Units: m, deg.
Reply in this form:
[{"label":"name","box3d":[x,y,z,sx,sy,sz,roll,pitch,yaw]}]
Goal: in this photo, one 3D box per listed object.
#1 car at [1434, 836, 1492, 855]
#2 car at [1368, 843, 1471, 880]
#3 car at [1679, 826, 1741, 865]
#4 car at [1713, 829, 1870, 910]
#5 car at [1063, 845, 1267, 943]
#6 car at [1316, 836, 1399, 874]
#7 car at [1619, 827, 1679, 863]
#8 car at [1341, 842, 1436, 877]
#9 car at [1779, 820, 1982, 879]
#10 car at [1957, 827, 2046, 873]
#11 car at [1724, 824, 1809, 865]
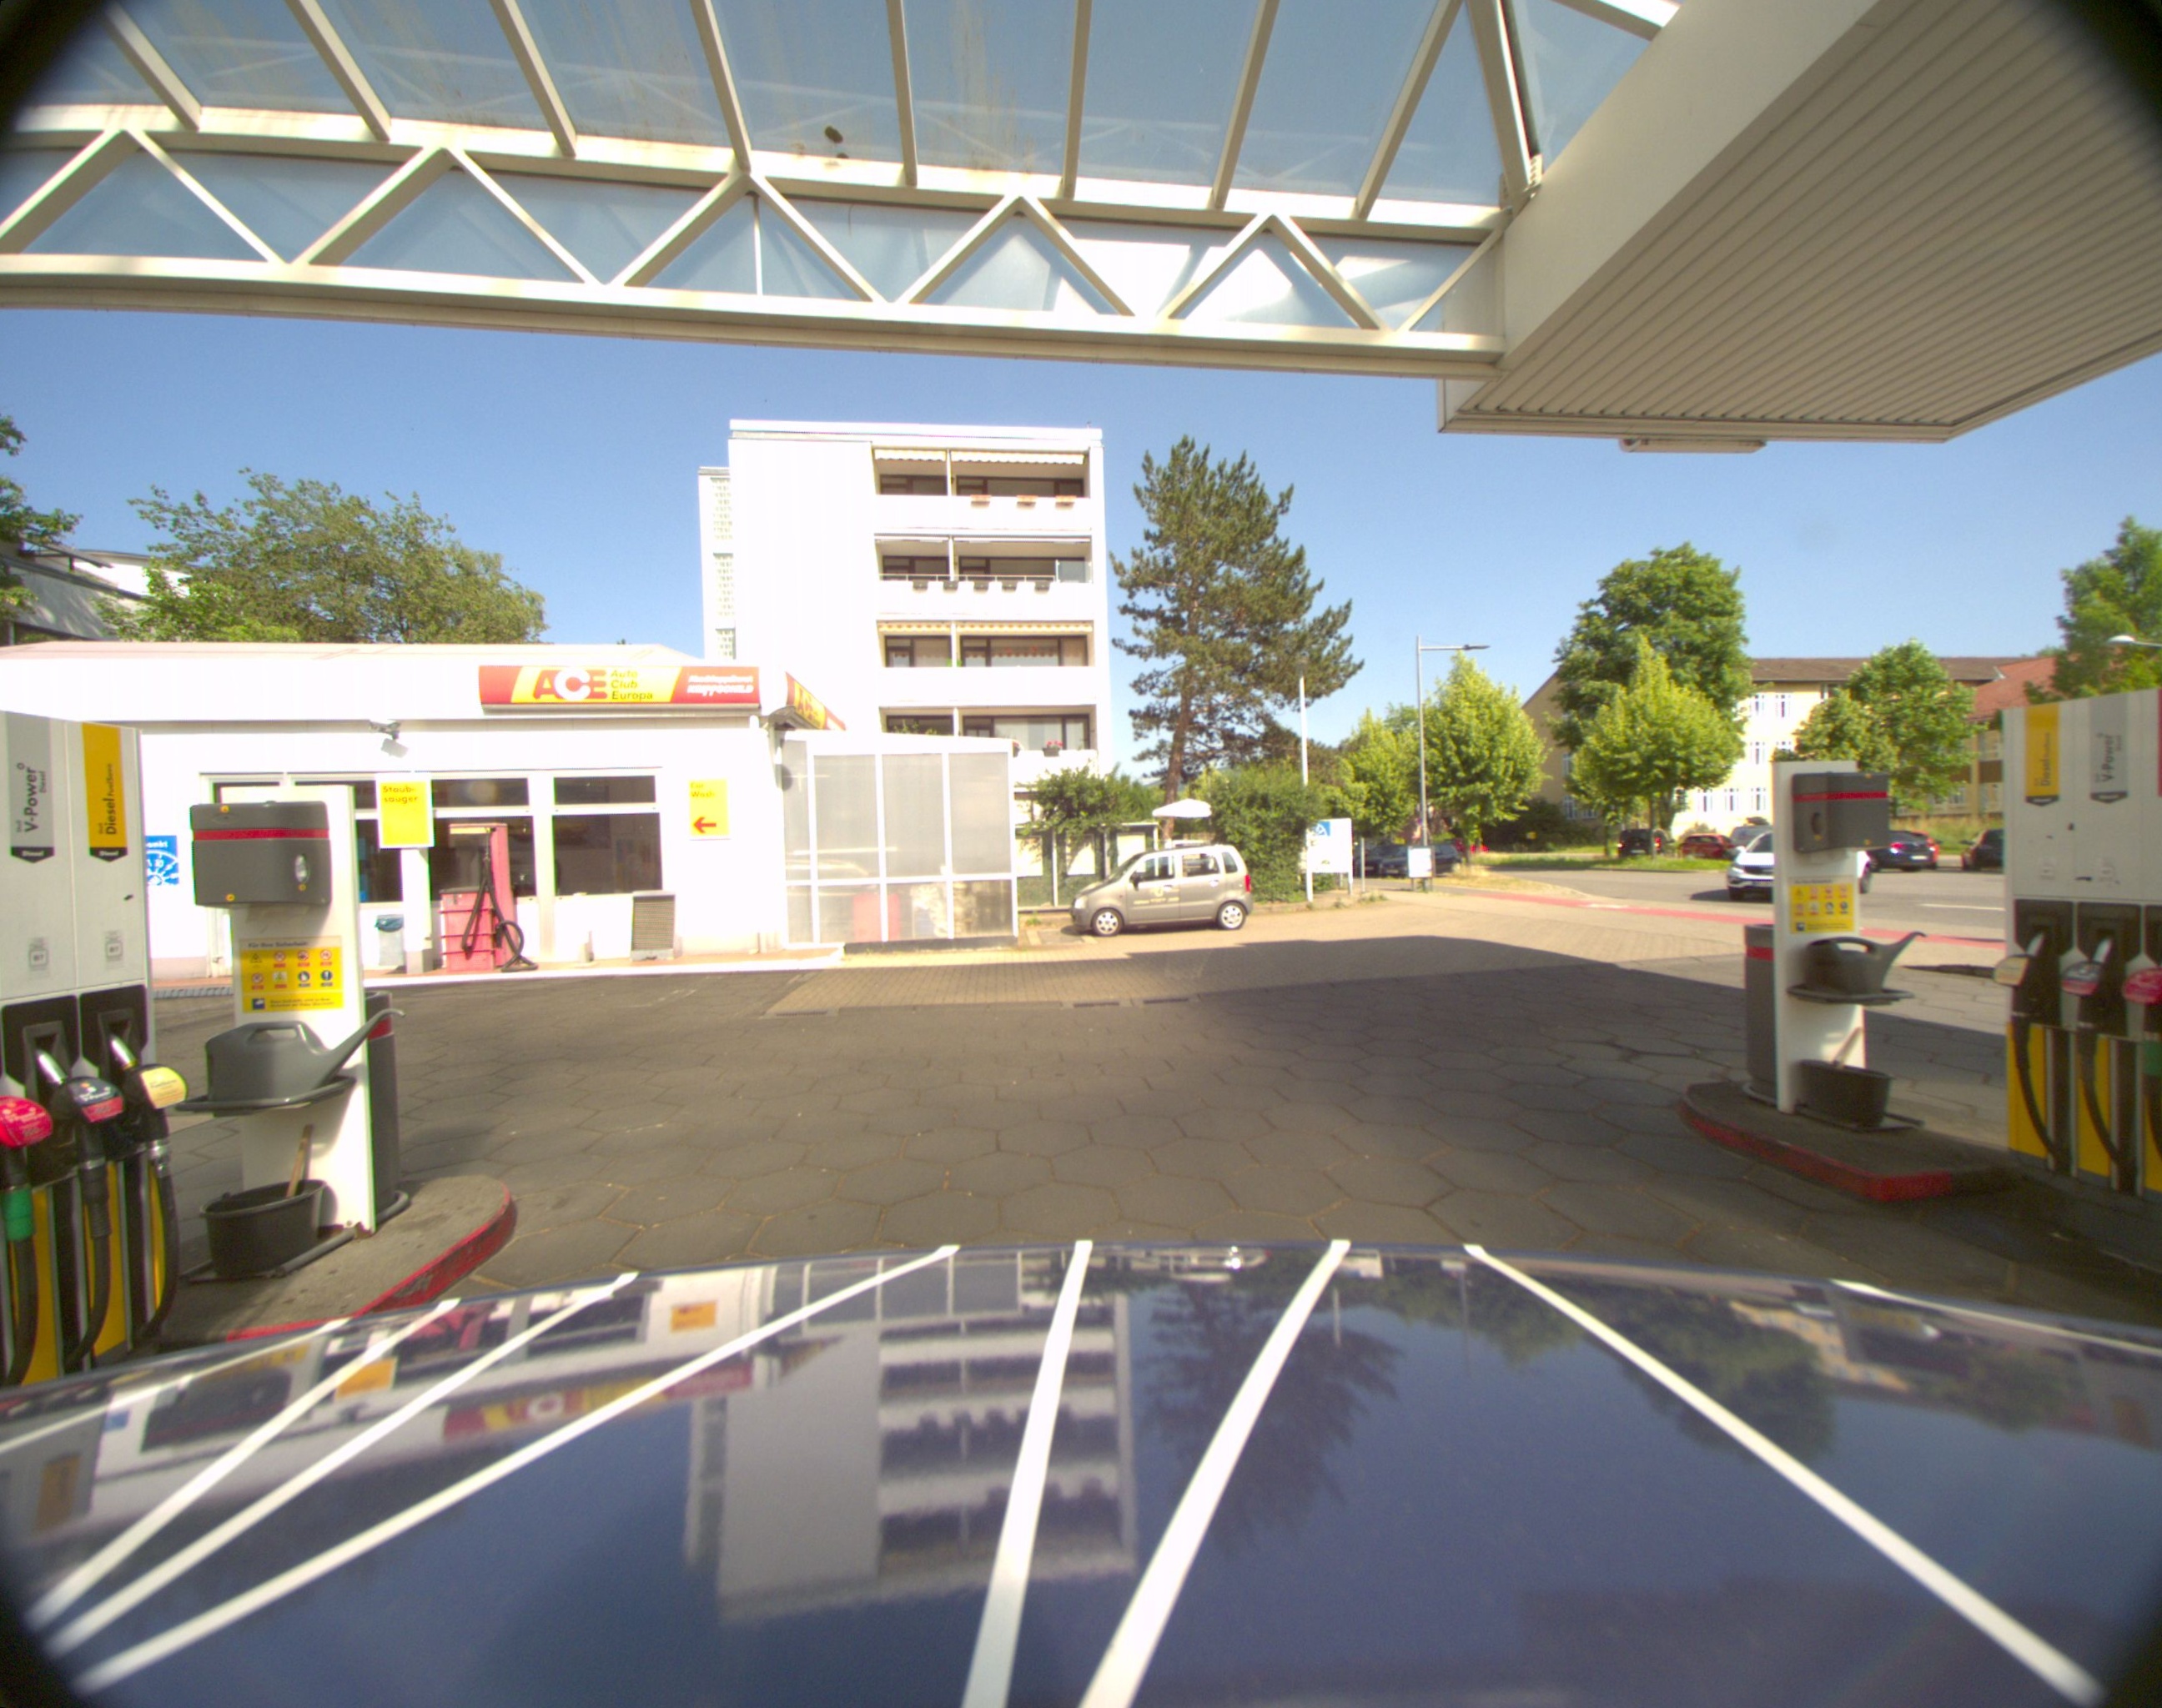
[{"label":"car","box3d":[27.787,-0.633,55.300,3.731,1.383,1.877,0,1,-25]},{"label":"car","box3d":[14.039,0.265,31.431,4.233,1.409,1.876,0,1,-33]},{"label":"car","box3d":[30.008,-0.418,36.231,1.876,1.713,4.234,2,2,45]},{"label":"car","box3d":[17.245,0.304,18.387,4.315,1.696,1.957,-2,1,-36]},{"label":"car","box3d":[1.561,0.726,14.929,3.661,1.608,1.691,-3,1,-5]},{"label":"car","box3d":[13.382,0.029,36.704,4.412,1.710,1.700,-2,1,-38]},{"label":"car","box3d":[28.989,-0.471,38.724,1.876,1.713,4.234,2,2,45]},{"label":"car","box3d":[13.859,0.189,34.181,4.233,1.473,1.876,-1,1,-33]},{"label":"car","box3d":[26.442,-0.175,25.387,1.999,1.759,4.388,-2,1,-6]},{"label":"car","box3d":[31.339,-0.141,25.968,4.234,1.451,1.736,-1,1,-42]},{"label":"car","box3d":[30.357,-0.434,33.628,4.233,1.713,1.876,-1,2,-35]}]
